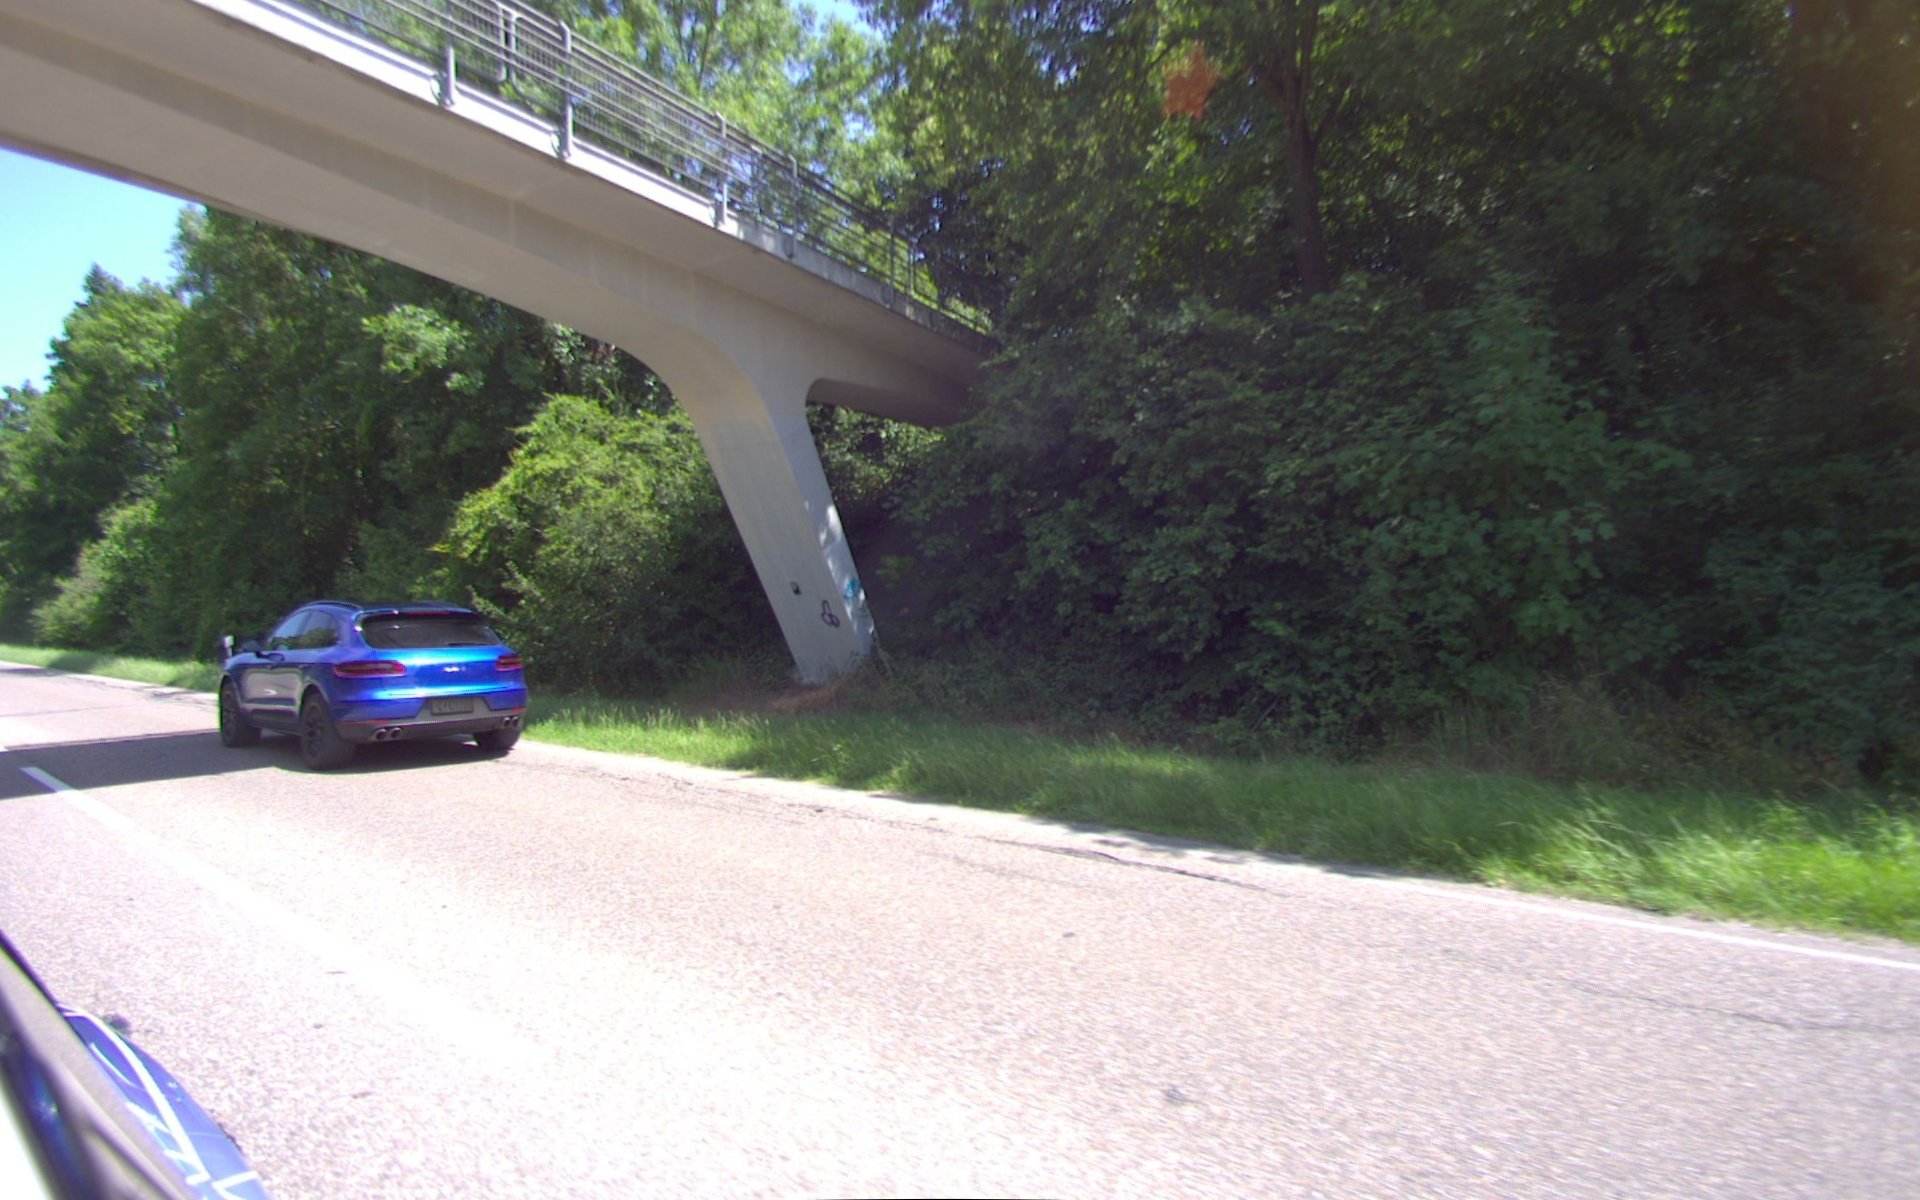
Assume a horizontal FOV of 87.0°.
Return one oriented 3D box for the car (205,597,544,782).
[{"bbox_3d":[-6.426,0.826,10.894,4.416,1.602,1.804,-1,-2,41],"label":"car"}]
